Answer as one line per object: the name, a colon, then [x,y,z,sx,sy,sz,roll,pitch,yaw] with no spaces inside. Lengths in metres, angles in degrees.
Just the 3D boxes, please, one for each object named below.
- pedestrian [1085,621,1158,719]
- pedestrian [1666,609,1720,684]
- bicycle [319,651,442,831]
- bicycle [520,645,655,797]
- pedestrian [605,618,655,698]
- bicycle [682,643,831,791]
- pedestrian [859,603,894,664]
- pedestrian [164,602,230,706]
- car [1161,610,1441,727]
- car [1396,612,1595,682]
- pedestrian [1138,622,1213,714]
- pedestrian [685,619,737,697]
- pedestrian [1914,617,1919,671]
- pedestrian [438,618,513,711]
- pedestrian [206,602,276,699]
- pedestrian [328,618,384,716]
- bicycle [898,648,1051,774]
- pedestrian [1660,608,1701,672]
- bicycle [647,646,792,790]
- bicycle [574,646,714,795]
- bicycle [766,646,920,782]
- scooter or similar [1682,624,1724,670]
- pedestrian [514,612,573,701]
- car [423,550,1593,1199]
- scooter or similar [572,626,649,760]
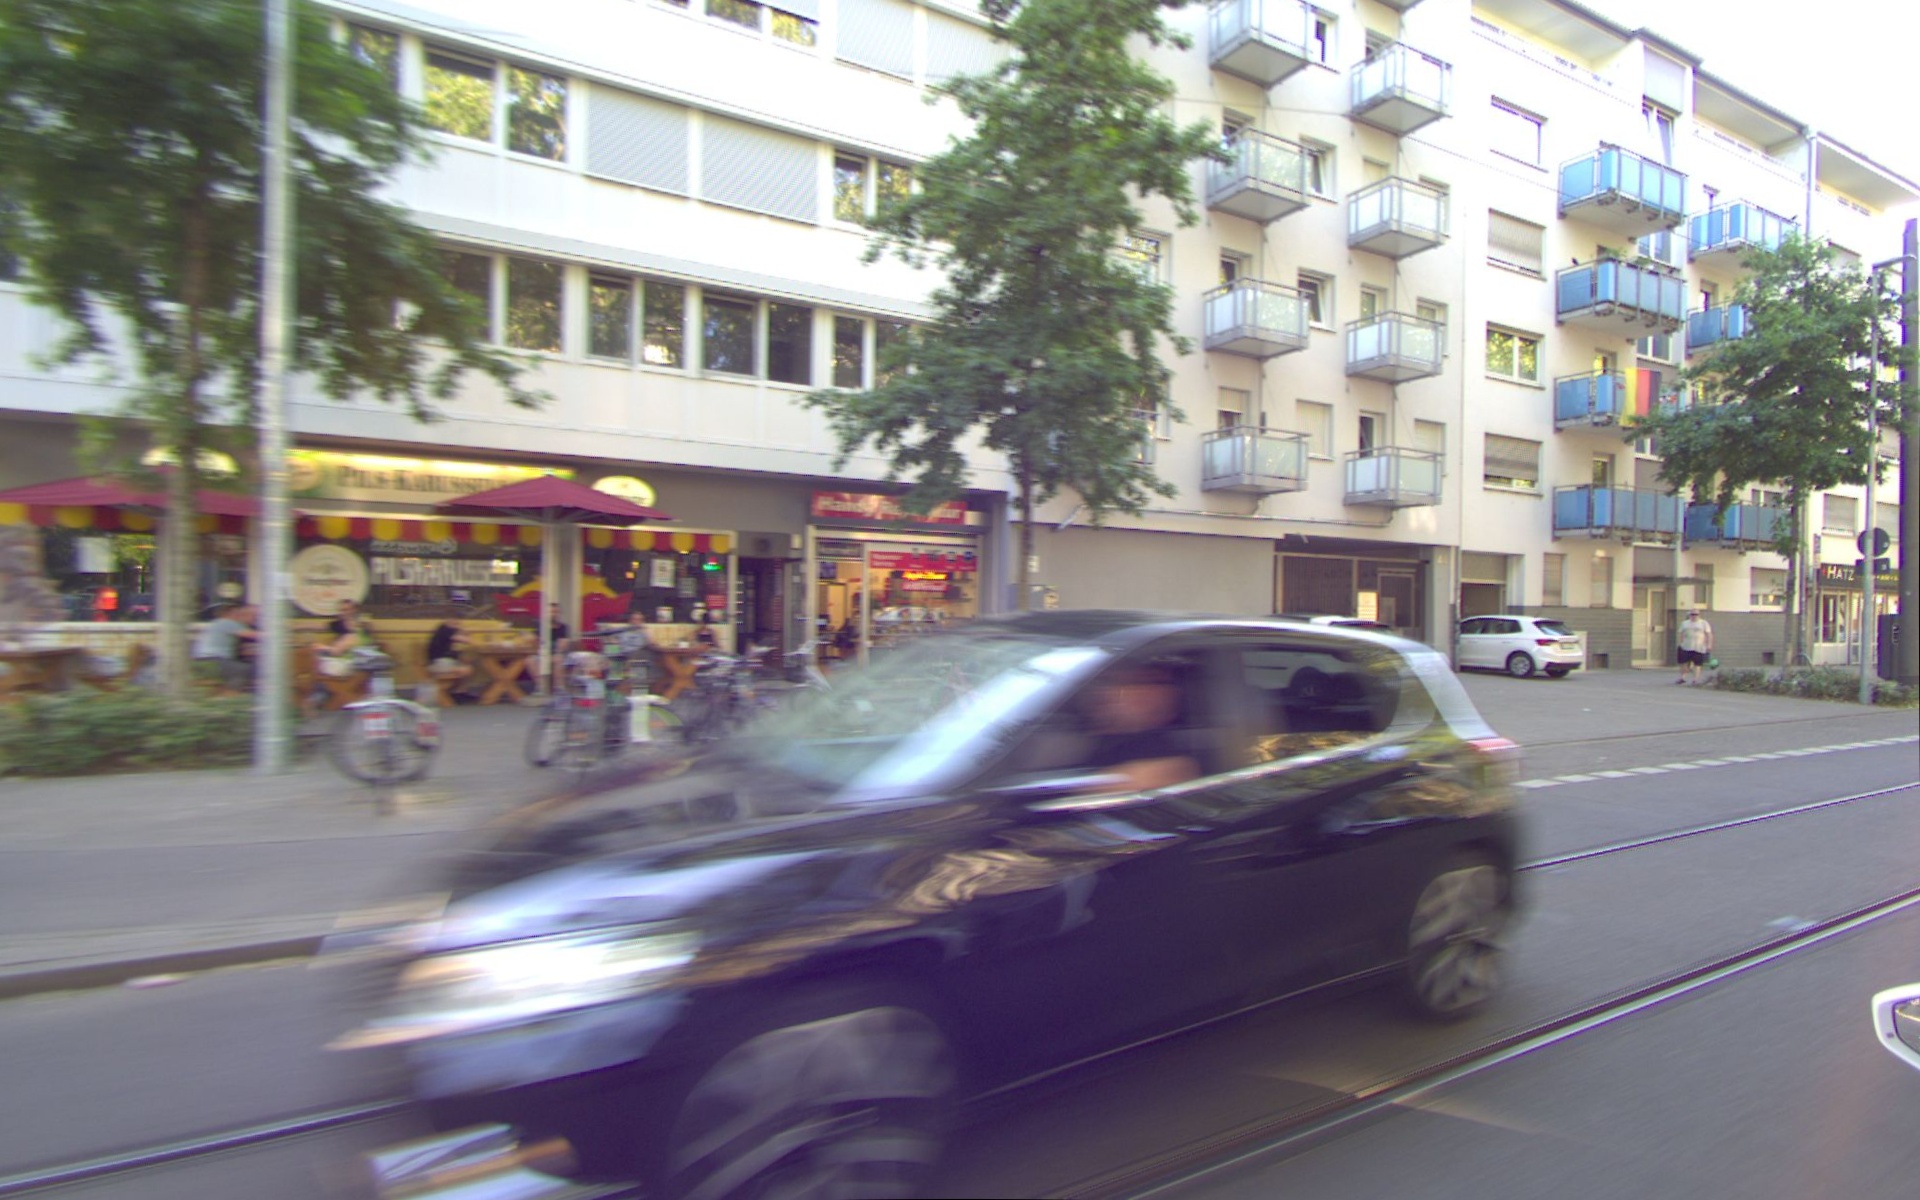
pedestrian: [2.279,0.962,14.149,0.742,1.314,0.705,1,-1,-43]
pedestrian: [17.086,1.074,23.412,0.785,1.713,0.760,1,0,-30]
bicycle: [-4.132,0.918,7.109,0.651,1.020,1.681,2,0,-33]
bicycle: [-3.134,0.935,8.346,0.651,1.020,1.818,2,0,-33]
pedestrian: [-5.113,0.884,15.556,0.617,1.214,0.559,1,-1,-30]
bicycle: [-1.836,0.964,8.865,0.651,1.078,1.818,2,0,-33]
pedestrian: [-1.678,0.664,20.075,0.556,1.214,0.510,1,-1,-24]
pedestrian: [-9.200,0.642,12.106,0.560,1.214,0.506,1,-1,-45]
car: [5.153,0.966,15.726,1.828,1.495,3.997,2,0,-28]
car: [13.167,1.106,24.933,1.830,1.495,3.992,2,0,-31]
pedestrian: [3.220,0.992,14.989,0.905,1.314,0.705,1,-1,-43]
pedestrian: [-4.027,0.922,16.220,0.647,1.214,0.669,1,-1,-30]
pedestrian: [30.906,1.399,31.927,0.740,1.713,0.660,1,0,-30]
pedestrian: [-6.577,0.860,13.645,0.591,1.214,0.691,0,-1,26]
pedestrian: [-9.228,0.633,12.897,0.553,1.214,0.512,0,-1,26]
pedestrian: [-7.687,0.842,12.806,0.556,1.214,0.510,1,-1,-27]
bicycle: [0.098,1.024,9.780,0.651,1.020,1.681,2,0,-33]
pedestrian: [19.669,1.093,27.426,0.740,1.713,0.660,1,0,-30]
bicycle: [-2.141,0.963,8.765,0.651,1.020,1.818,2,0,-33]
bicycle: [-2.708,0.946,8.474,0.651,1.020,1.818,2,0,-33]
bicycle: [-1.122,0.986,9.245,0.651,1.020,1.818,2,0,-33]
scooter or similar: [21.671,1.374,29.285,1.219,1.306,0.374,1,-2,-22]
pedestrian: [-5.806,0.775,13.998,0.504,1.214,0.562,0,-1,32]
car: [0.376,0.765,3.780,4.102,1.611,1.860,1,-2,-33]
scooter or similar: [-3.420,0.871,9.789,0.492,1.192,1.074,1,0,-30]
